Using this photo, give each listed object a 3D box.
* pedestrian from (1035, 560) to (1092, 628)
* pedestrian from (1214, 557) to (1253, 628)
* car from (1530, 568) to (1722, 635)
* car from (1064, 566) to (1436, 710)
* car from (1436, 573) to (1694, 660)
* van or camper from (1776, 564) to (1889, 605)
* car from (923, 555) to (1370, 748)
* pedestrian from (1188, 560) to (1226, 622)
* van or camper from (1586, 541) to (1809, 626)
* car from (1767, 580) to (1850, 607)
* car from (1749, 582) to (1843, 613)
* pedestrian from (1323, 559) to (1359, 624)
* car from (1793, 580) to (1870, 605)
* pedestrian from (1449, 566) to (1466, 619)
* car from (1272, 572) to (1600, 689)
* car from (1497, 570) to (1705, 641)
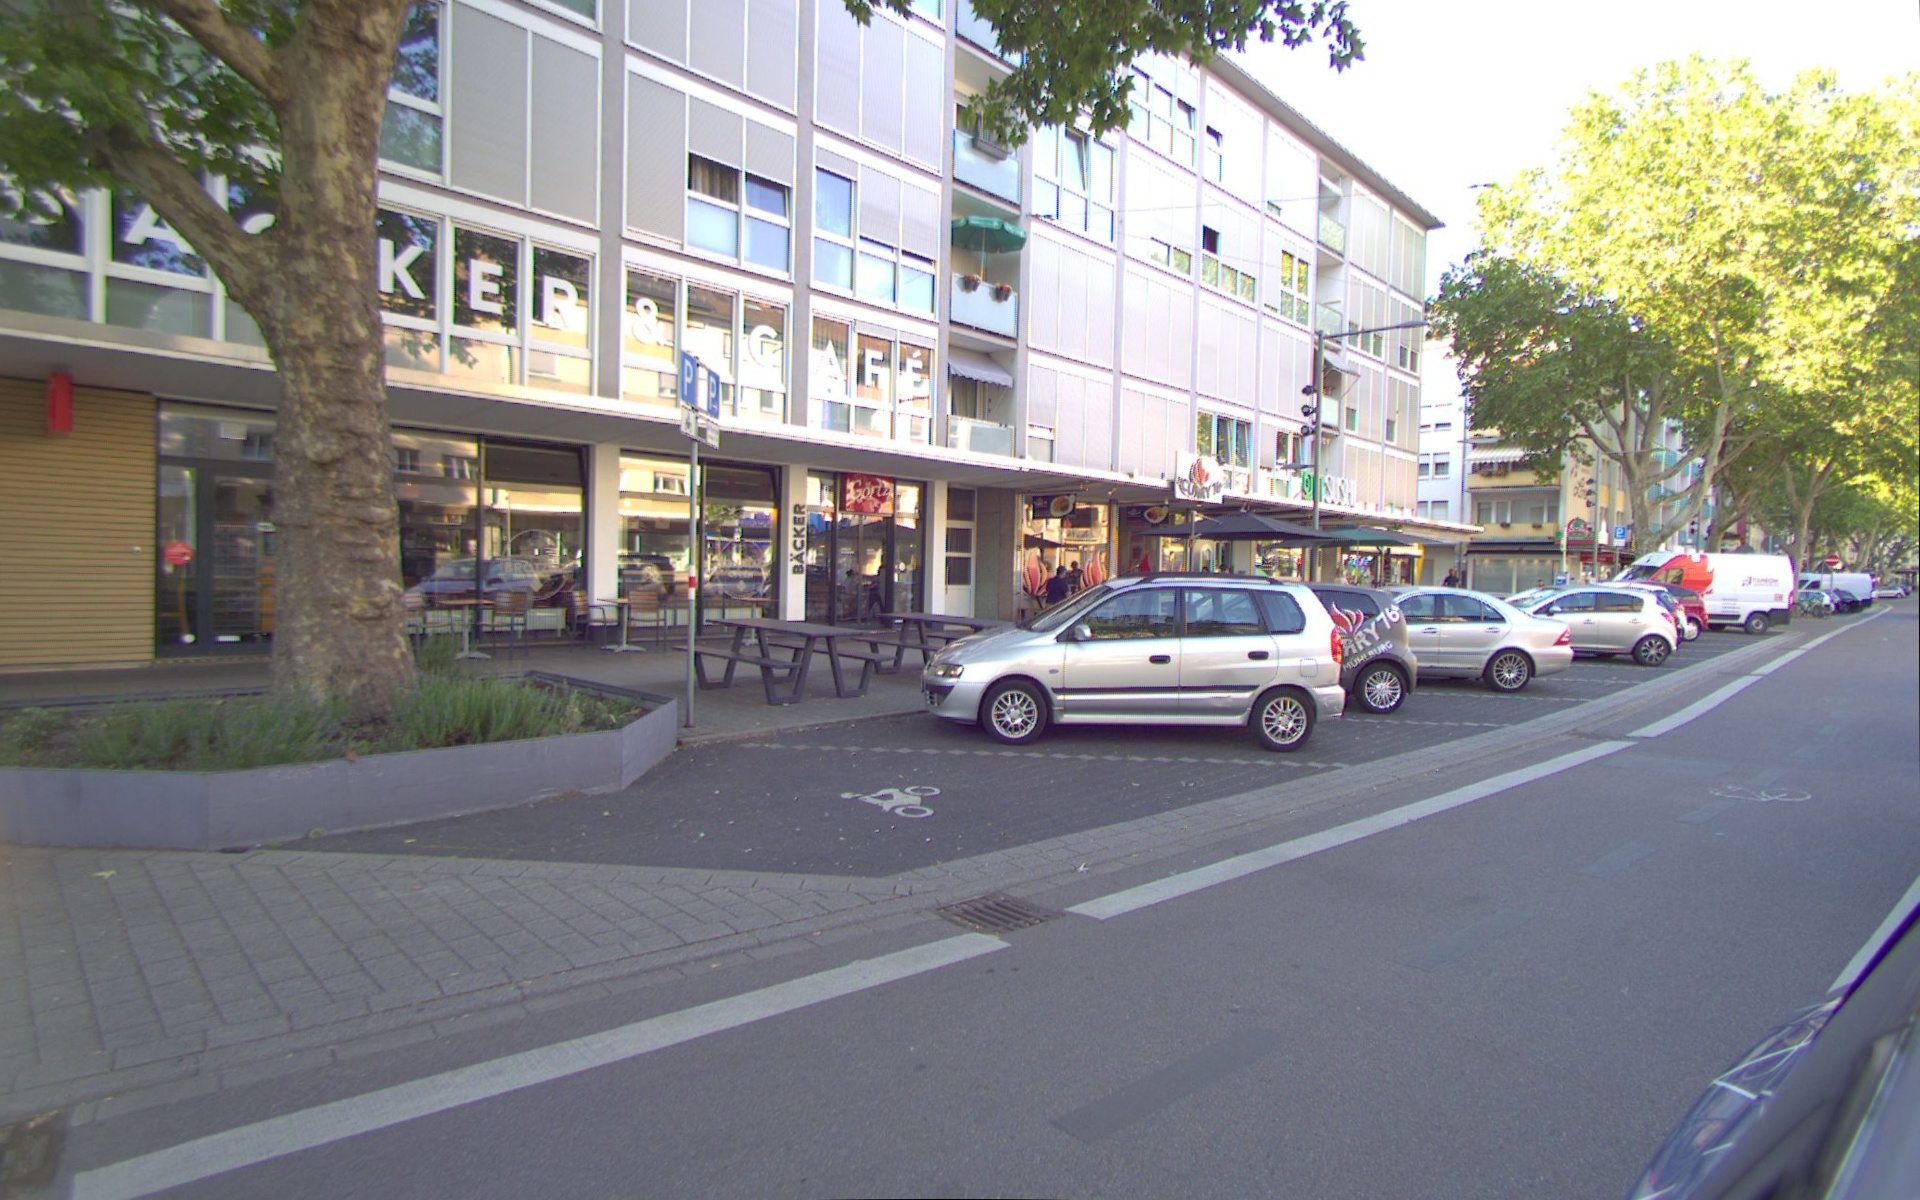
[{"bbox_3d":[2.195,-0.135,21.424,0.945,1.379,0.750,0,2,-41],"label":"pedestrian"},{"bbox_3d":[6.403,-0.175,23.678,0.537,1.610,0.676,5,4,44],"label":"pedestrian"},{"bbox_3d":[17.890,0.012,27.341,3.929,1.582,1.659,2,3,5],"label":"car"},{"bbox_3d":[3.387,0.406,12.340,3.921,1.525,1.811,1,2,-3],"label":"car"},{"bbox_3d":[11.740,0.283,19.859,3.929,1.453,1.659,2,3,5],"label":"car"},{"bbox_3d":[56.110,-1.041,65.150,5.363,2.499,1.999,1,2,3],"label":"van or camper"},{"bbox_3d":[1.632,0.430,9.882,3.921,1.626,1.811,1,2,-3],"label":"car"},{"bbox_3d":[5.864,-0.222,24.054,0.537,1.417,0.676,5,4,44],"label":"pedestrian"},{"bbox_3d":[23.320,-0.548,32.193,5.366,2.499,1.998,1,2,5],"label":"van or camper"},{"bbox_3d":[48.444,-0.405,57.855,3.271,1.363,1.530,2,3,5],"label":"car"},{"bbox_3d":[41.868,-0.153,50.739,3.271,1.363,1.530,2,3,5],"label":"car"},{"bbox_3d":[9.733,-0.213,25.859,0.537,1.610,0.676,5,4,44],"label":"pedestrian"},{"bbox_3d":[53.817,-0.479,62.538,3.271,1.363,1.530,2,3,5],"label":"car"},{"bbox_3d":[19.268,-0.301,39.194,0.559,2.039,0.531,0,0,31],"label":"pedestrian"},{"bbox_3d":[6.820,0.402,14.809,3.926,1.453,1.660,2,3,2],"label":"car"},{"bbox_3d":[15.745,0.107,25.017,3.929,1.541,1.659,2,3,5],"label":"car"}]
